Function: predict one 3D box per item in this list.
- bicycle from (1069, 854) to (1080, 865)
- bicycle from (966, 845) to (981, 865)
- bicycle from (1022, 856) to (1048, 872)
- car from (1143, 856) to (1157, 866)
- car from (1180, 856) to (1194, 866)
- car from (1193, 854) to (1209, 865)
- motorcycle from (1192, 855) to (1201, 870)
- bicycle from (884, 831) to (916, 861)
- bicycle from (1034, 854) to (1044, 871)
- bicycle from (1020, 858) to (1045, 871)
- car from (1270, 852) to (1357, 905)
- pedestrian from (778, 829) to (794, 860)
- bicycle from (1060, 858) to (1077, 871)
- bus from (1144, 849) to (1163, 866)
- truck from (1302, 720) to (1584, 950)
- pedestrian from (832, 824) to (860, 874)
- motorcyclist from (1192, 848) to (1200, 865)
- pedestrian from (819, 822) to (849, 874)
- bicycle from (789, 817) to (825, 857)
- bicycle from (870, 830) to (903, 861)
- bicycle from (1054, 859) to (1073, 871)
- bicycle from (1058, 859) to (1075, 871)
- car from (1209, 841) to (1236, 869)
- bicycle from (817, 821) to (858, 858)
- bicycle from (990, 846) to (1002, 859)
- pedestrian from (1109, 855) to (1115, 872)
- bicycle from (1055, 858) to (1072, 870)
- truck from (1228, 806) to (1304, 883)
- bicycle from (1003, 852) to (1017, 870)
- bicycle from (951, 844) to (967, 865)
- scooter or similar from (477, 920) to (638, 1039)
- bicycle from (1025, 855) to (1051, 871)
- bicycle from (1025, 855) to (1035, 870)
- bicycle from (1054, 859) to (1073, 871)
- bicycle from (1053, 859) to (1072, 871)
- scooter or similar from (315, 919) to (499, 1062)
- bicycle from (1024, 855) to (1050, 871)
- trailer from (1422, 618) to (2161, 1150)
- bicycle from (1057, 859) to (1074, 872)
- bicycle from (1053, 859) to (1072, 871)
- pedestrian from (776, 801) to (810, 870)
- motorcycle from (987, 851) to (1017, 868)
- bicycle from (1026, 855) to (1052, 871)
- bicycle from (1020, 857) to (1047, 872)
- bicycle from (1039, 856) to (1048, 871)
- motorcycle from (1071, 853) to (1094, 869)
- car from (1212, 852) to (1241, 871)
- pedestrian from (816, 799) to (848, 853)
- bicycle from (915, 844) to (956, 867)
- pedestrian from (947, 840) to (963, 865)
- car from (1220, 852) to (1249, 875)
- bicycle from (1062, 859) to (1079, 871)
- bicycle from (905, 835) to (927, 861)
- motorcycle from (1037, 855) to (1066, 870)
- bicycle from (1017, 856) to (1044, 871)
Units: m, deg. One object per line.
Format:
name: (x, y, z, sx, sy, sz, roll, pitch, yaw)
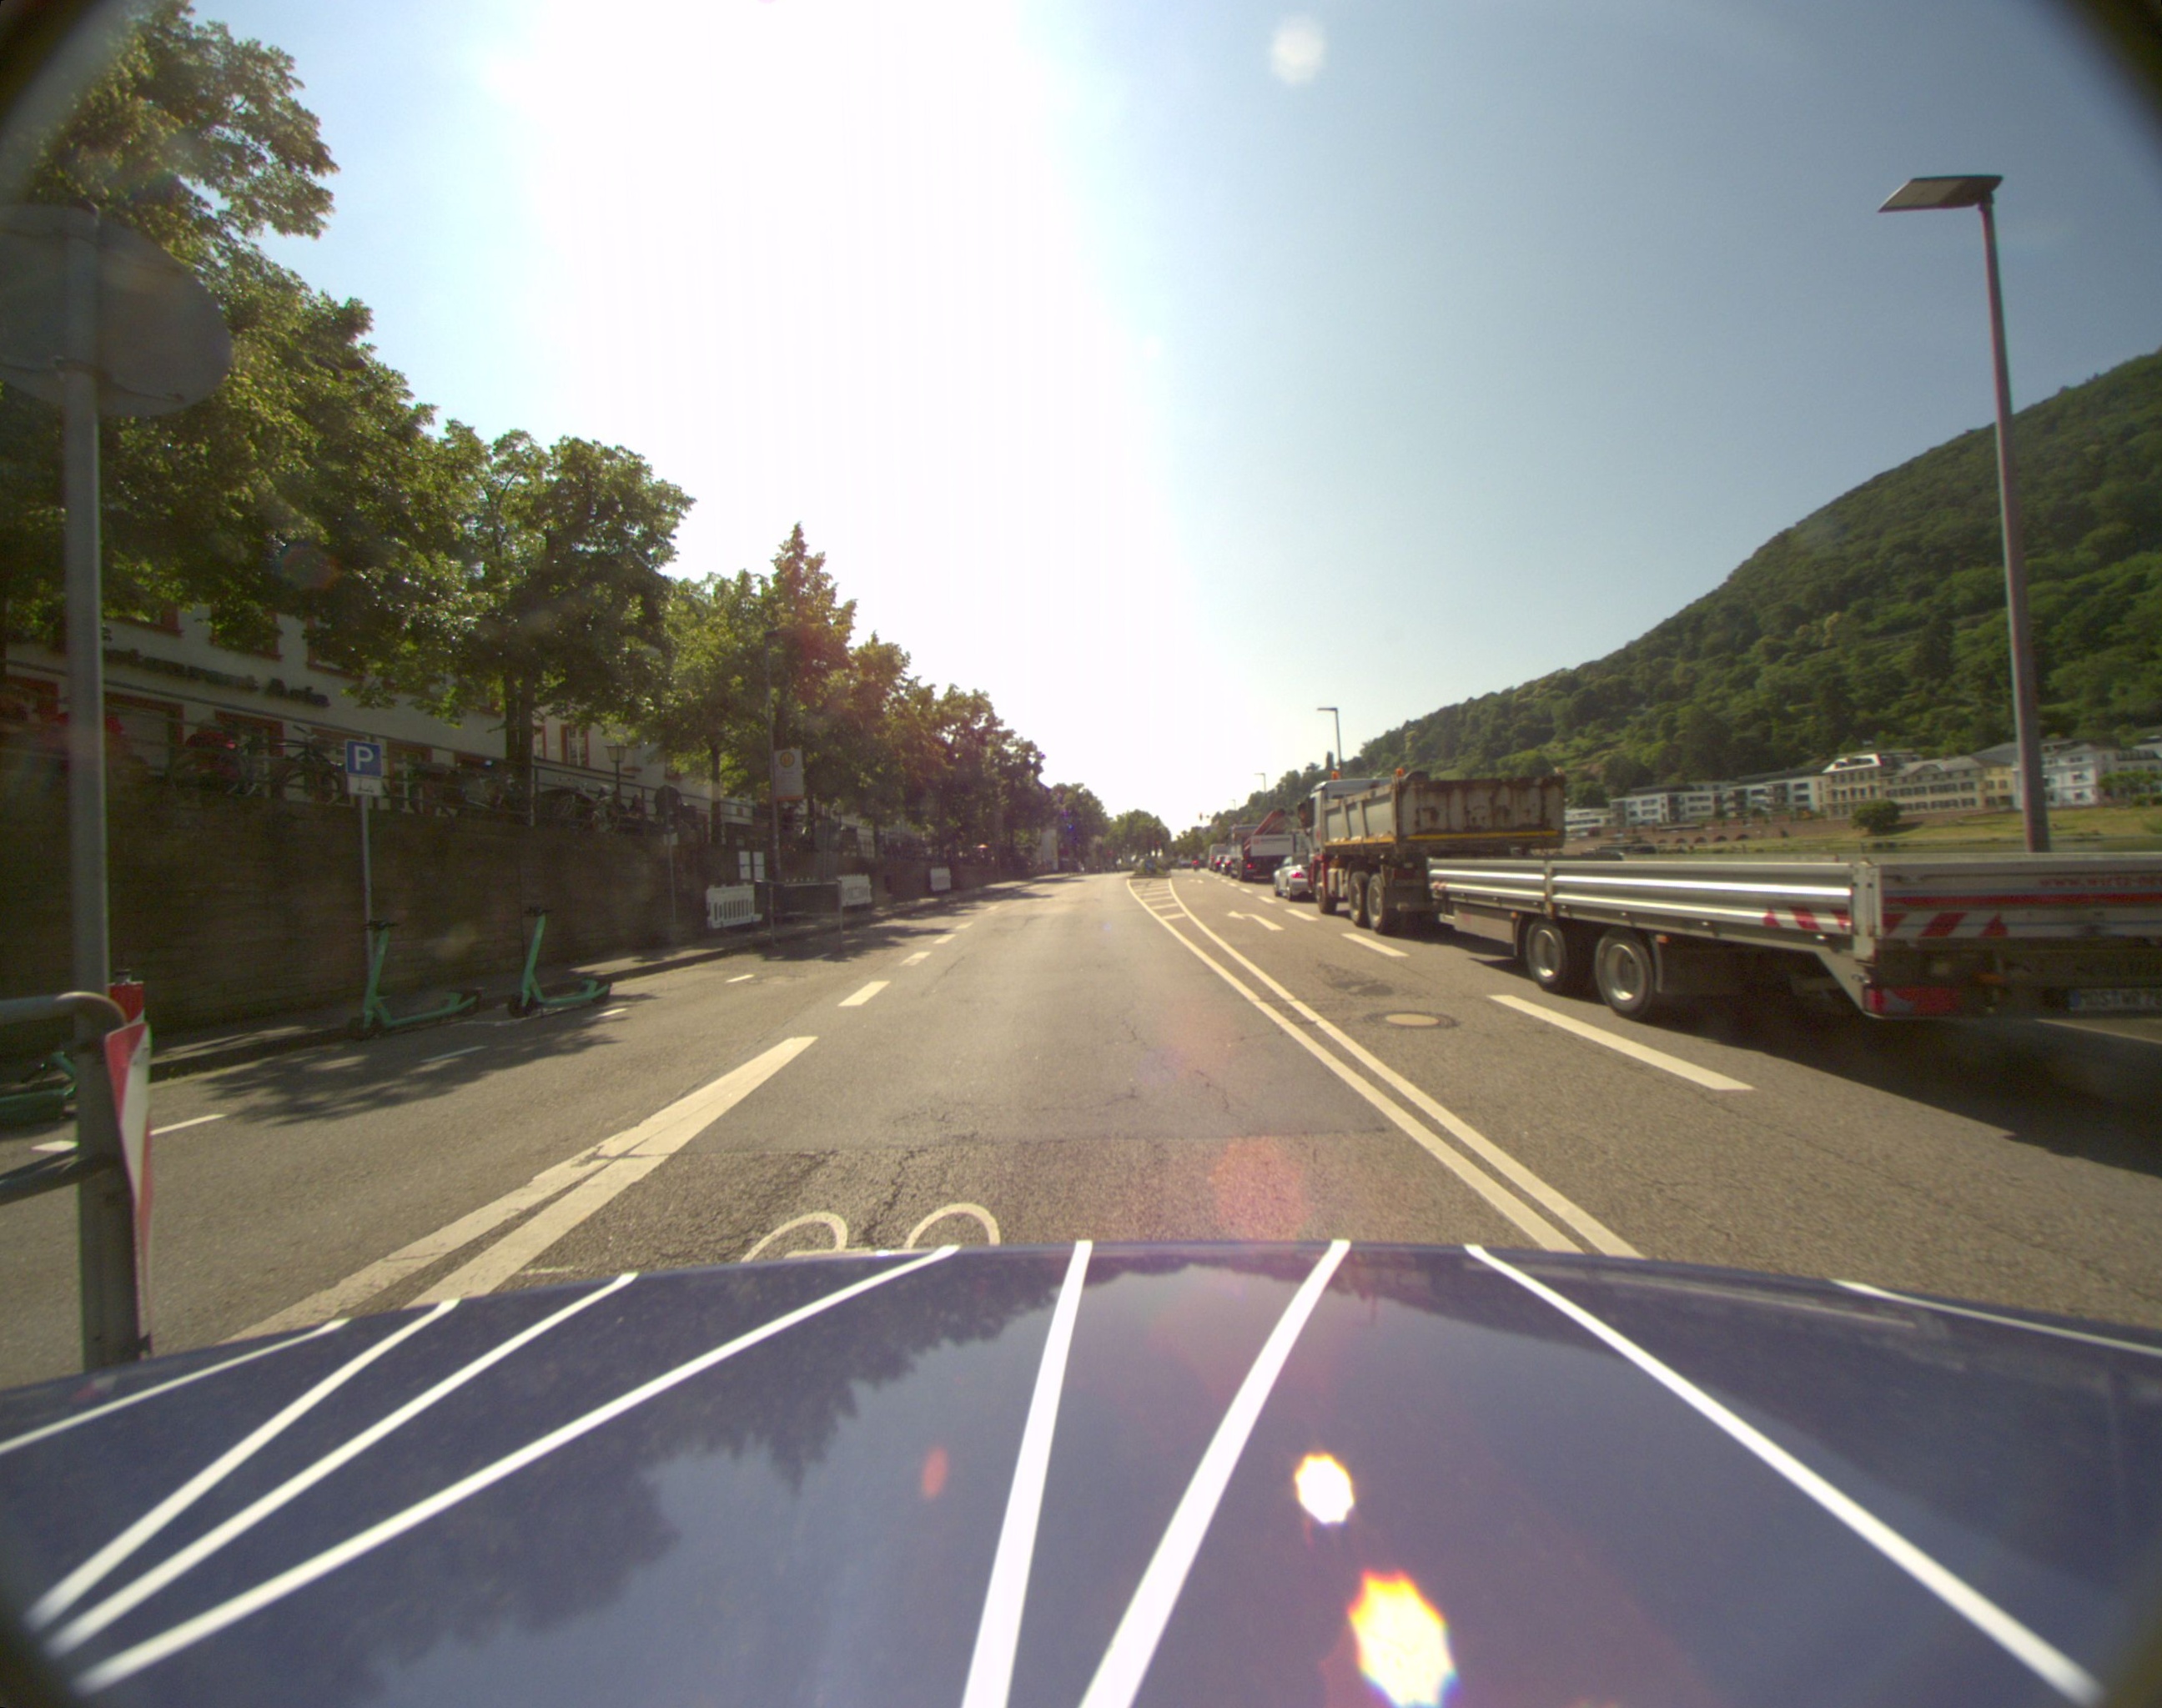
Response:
bicycle: (-0.601, 0.536, 70.965, 0.539, 1.002, 1.756, -2, 0, 17)
bicycle: (-5.600, 0.051, 39.588, 0.298, 0.998, 1.942, -2, -1, 5)
bicycle: (-3.885, 0.849, 64.316, 2.160, 1.254, 0.477, -1, 0, 6)
car: (13.007, 1.326, 143.001, 1.999, 1.750, 4.589, -2, 1, -3)
car: (17.242, 1.089, 123.816, 1.907, 1.428, 3.893, -3, 0, 4)
car: (17.020, 0.745, 107.683, 1.998, 1.444, 4.263, -3, 0, 6)
motorcycle: (10.737, 0.799, 70.715, 0.727, 1.379, 2.513, -2, 0, 8)
bicycle: (-7.067, -0.297, 29.731, 0.410, 1.099, 1.925, -2, 0, 11)
bicycle: (-3.278, 0.647, 59.636, 0.476, 1.254, 2.163, 0, 0, 4)
bicycle: (-4.077, 0.887, 63.392, 2.027, 1.086, 0.338, -1, 0, 6)
car: (7.103, 0.707, 23.594, 1.781, 1.435, 3.999, -2, 0, 6)
pedestrian: (-15.300, -0.496, 39.393, 0.469, 1.536, 0.608, -4, 0, 6)
bicycle: (-1.194, 1.029, 73.932, 1.628, 1.163, 0.426, -1, -1, 24)
bus: (15.472, 0.738, 163.101, 2.656, 3.368, 10.793, -2, 0, -2)
truck: (6.616, -0.297, 15.455, 2.647, 3.436, 7.874, -1, 0, 6)
pedestrian: (-8.142, -0.174, 26.346, 0.720, 1.710, 0.573, -2, 0, 6)
motorcyclist: (10.695, 0.240, 70.713, 0.703, 1.518, 0.861, -2, 1, 8)
pedestrian: (-8.354, -0.210, 25.739, 0.720, 1.710, 0.573, -2, 0, 6)
bicycle: (-7.907, -0.465, 21.950, 0.411, 1.099, 1.734, -2, 0, -1)
bicycle: (-7.163, -0.303, 28.039, 0.410, 1.099, 1.736, -2, 0, 11)
bicycle: (-1.616, 1.000, 70.960, 1.752, 1.126, 0.464, 0, 0, 2)
bicycle: (-1.426, 1.033, 73.281, 1.631, 1.163, 0.350, 0, 0, 2)
car: (13.274, 0.106, 71.548, 2.199, 2.511, 4.751, 0, 0, 6)
bicycle: (-7.628, -0.431, 23.909, 0.410, 1.099, 1.736, -2, 0, 11)
bicycle: (-5.029, -0.074, 44.887, 0.350, 0.779, 1.920, -2, -1, 4)
pedestrian: (3.286, 0.984, 79.627, 0.541, 1.767, 0.583, -1, 0, 5)
bicycle: (-1.652, 0.955, 71.268, 1.631, 1.126, 0.414, 0, 0, 2)
truck: (9.605, -0.421, 40.568, 2.647, 3.456, 11.113, -2, 0, 7)
bicycle: (-4.541, 0.440, 48.907, 0.345, 1.106, 1.920, -2, 0, 10)
bicycle: (-6.011, 0.054, 37.480, 0.298, 0.998, 1.861, -2, -1, 5)
scooter or similar: (-5.778, 1.348, 8.488, 0.532, 1.083, 1.440, -2, 0, 15)
bicycle: (-3.693, 0.794, 65.338, 2.160, 1.360, 0.477, -1, 0, 6)
bicycle: (-3.721, 0.618, 55.381, 0.301, 1.042, 2.164, -1, -1, 7)
bicycle: (-1.583, 1.016, 69.553, 1.753, 1.126, 0.540, 0, 0, 0)
bicycle: (-1.691, 1.007, 70.525, 1.752, 1.126, 0.464, 0, 0, 2)
scooter or similar: (-6.870, 1.339, 7.816, 0.532, 1.223, 1.273, -2, 0, 20)
bicycle: (-3.757, 0.794, 64.835, 2.160, 1.360, 0.477, -1, 0, 6)
trailer: (5.760, 0.113, 7.013, 2.703, 2.516, 6.949, -1, 0, 6)
bicycle: (-1.472, 1.098, 72.979, 1.631, 1.210, 0.414, 0, 0, 2)
bicycle: (-1.689, 1.019, 70.350, 1.752, 1.126, 0.464, 0, 0, 2)
pedestrian: (-9.312, -0.597, 24.610, 0.720, 2.176, 0.711, -2, 0, 6)
motorcycle: (-5.285, 0.337, 51.068, 1.920, 1.092, 0.575, -1, 0, -2)
bicycle: (-3.627, 0.794, 65.877, 2.160, 1.360, 0.584, -1, 0, 6)
bicycle: (-3.970, 0.849, 63.815, 2.160, 1.254, 0.477, -1, 0, 6)
bicycle: (-3.024, 0.755, 61.882, 0.476, 1.254, 2.163, 0, 0, 4)
motorcycle: (0.127, 0.705, 74.666, 2.196, 1.519, 0.800, -2, 0, 42)
car: (12.154, 0.598, 63.809, 1.997, 1.410, 4.923, -2, 0, 7)
pedestrian: (-8.218, -0.916, 25.098, 0.720, 1.710, 0.711, -2, 0, 6)
bicycle: (-6.922, 0.079, 36.097, 1.858, 0.998, 0.299, -2, -1, 3)
pedestrian: (-6.687, -0.086, 40.270, 0.696, 1.257, 0.670, -2, 0, 2)
car: (10.625, 0.647, 52.754, 1.660, 1.428, 4.083, -2, 0, 8)
bicycle: (-1.068, 1.041, 74.214, 1.628, 1.163, 0.367, -1, -1, 24)
bicycle: (-7.488, -0.264, 34.482, 0.382, 1.133, 1.935, -2, -1, 5)
motorcycle: (-2.603, 0.777, 67.779, 2.531, 1.267, 0.725, -2, 0, 29)
bicycle: (-4.180, 0.771, 63.005, 2.160, 1.254, 0.421, -1, 0, 6)
